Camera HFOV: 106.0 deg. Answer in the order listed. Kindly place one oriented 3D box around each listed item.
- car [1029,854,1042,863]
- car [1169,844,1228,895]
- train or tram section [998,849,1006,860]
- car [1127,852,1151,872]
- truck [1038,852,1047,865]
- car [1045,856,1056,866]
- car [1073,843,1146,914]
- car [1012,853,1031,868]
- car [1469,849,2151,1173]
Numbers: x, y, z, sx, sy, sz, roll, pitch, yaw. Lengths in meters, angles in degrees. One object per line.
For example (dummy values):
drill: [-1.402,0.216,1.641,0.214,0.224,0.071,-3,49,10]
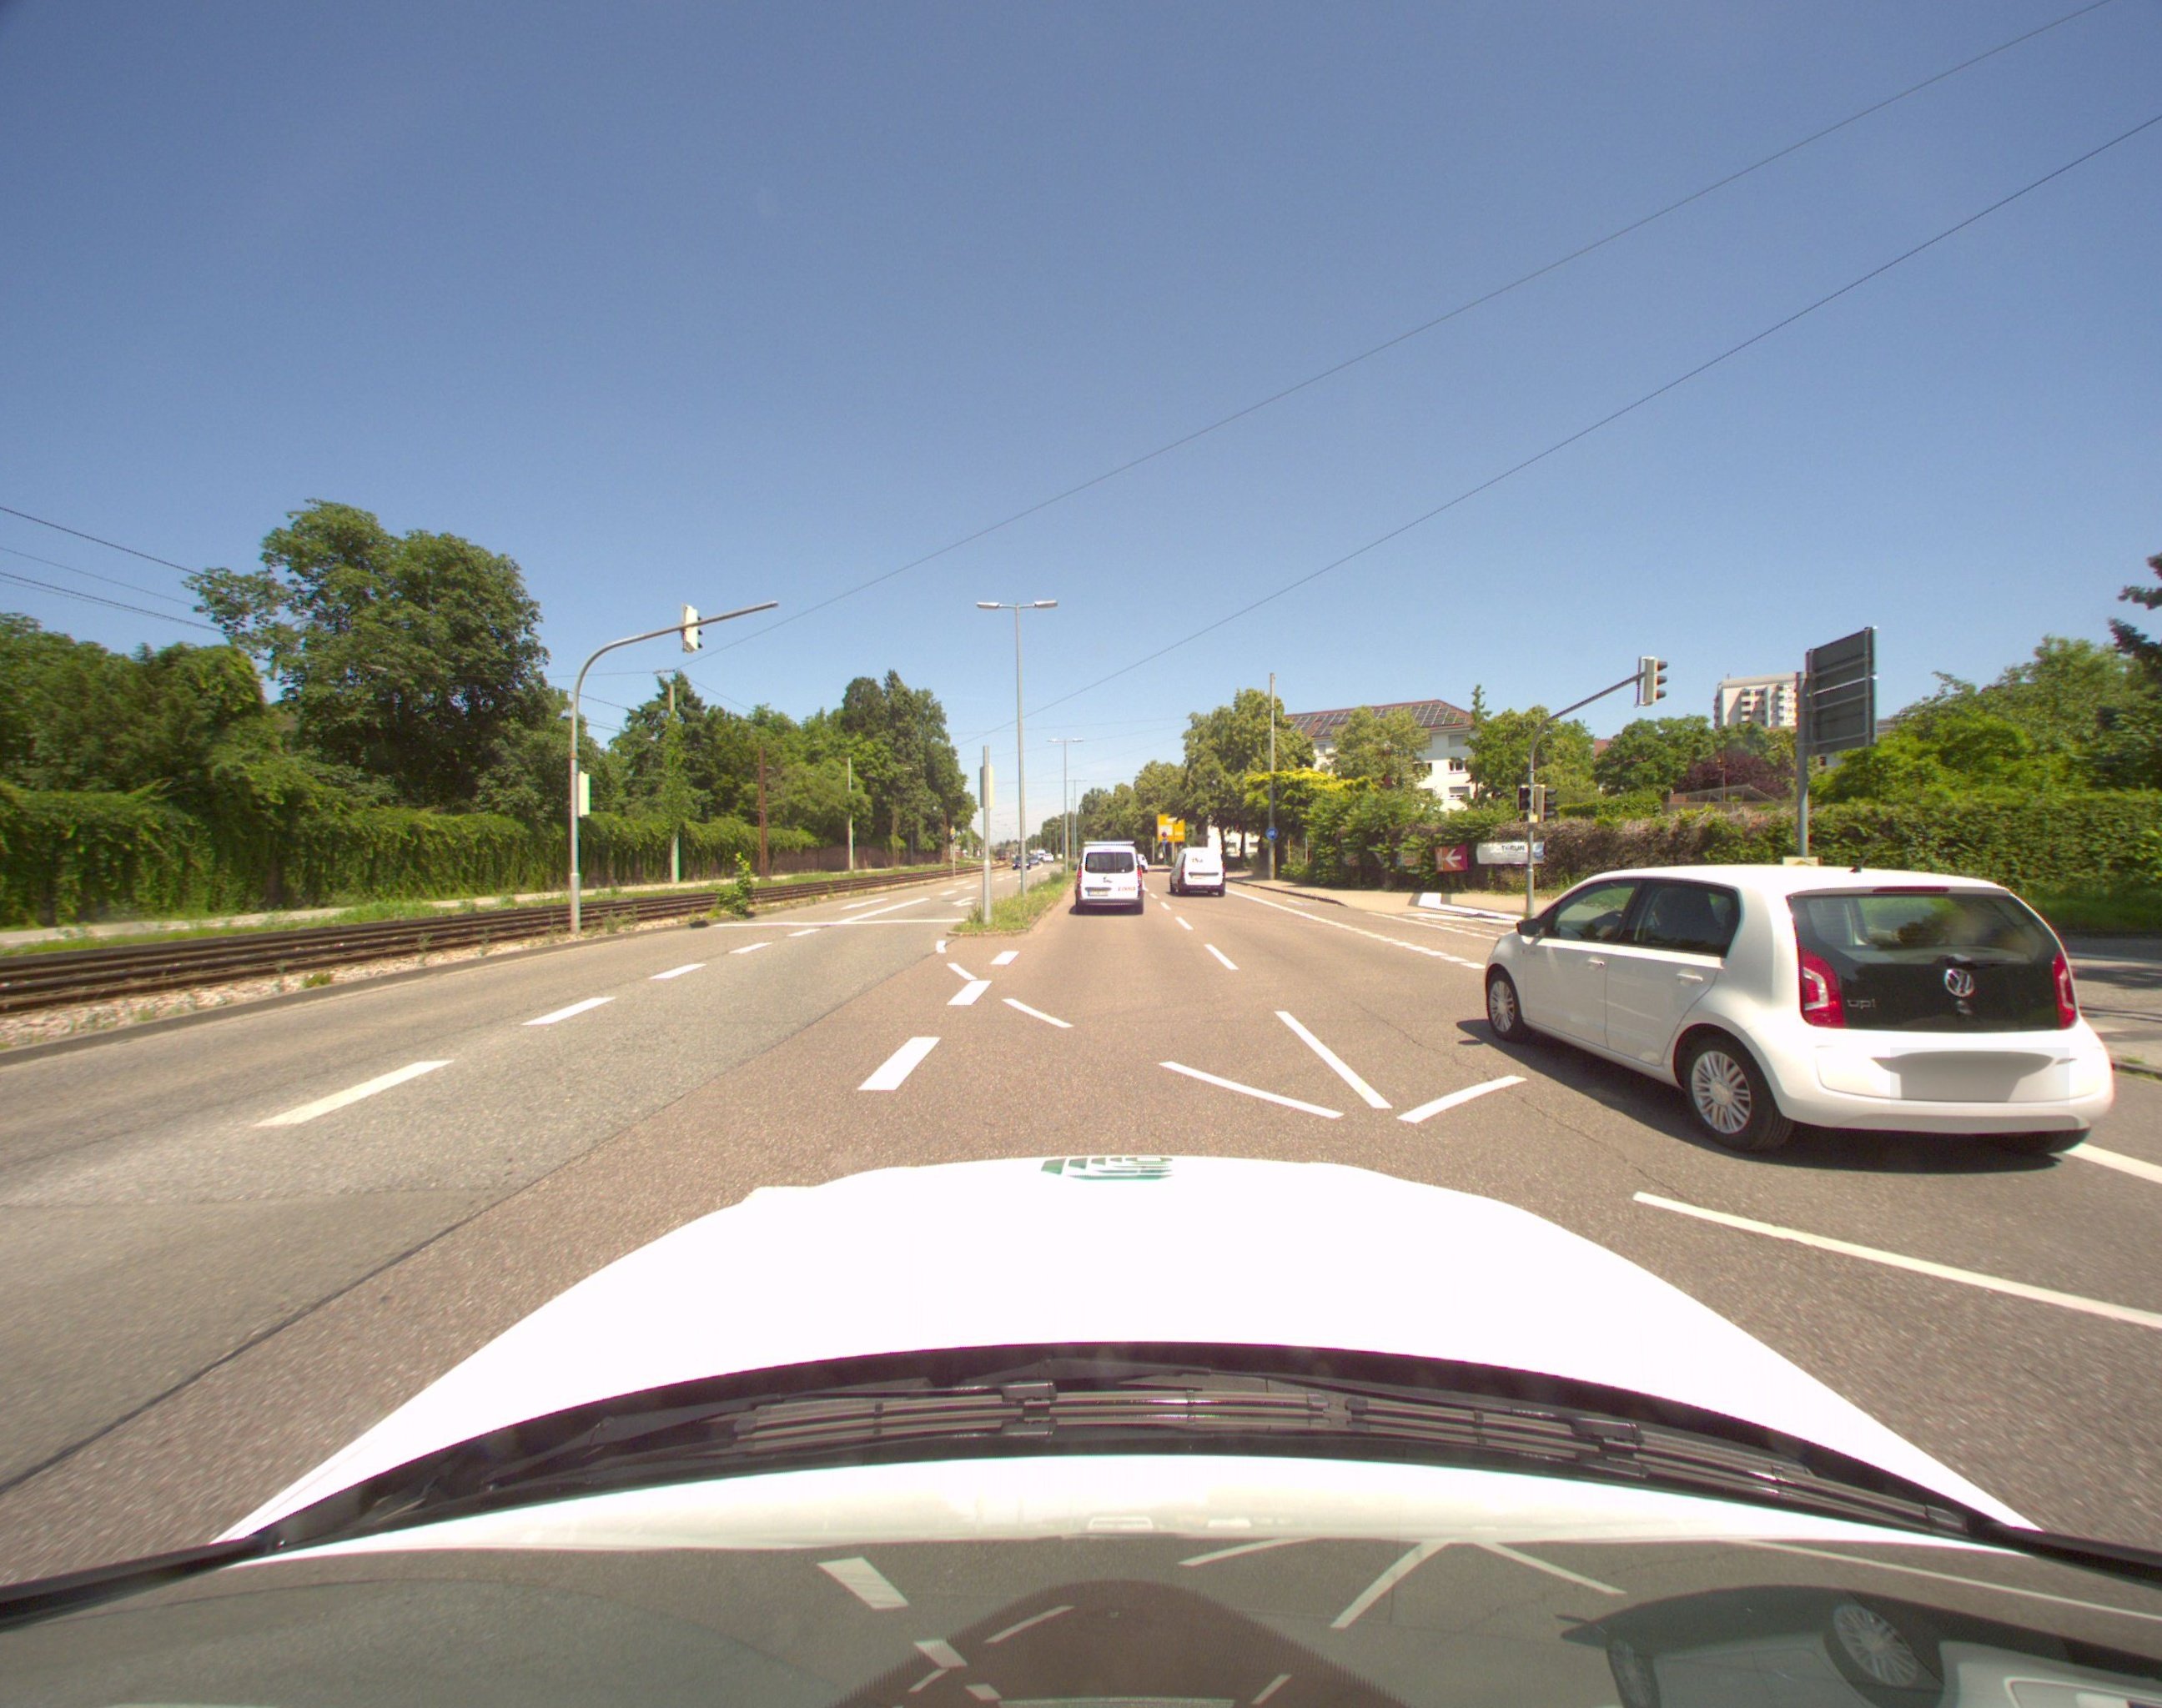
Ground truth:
car: [-6.915,0.678,123.422,1.692,1.439,3.999,-1,0,0]
car: [4.413,0.557,30.993,1.721,1.788,4.065,1,0,1]
train or tram section: [-24.739,0.197,254.999,1.992,3.086,16.126,1,0,-7]
car: [4.838,0.658,67.882,1.828,1.568,4.002,1,0,2]
truck: [-9.817,1.066,208.511,1.986,3.213,5.313,-1,0,1]
car: [-6.023,1.380,161.762,1.986,1.816,4.001,-1,0,1]
car: [0.792,0.611,22.407,1.814,1.739,4.398,1,0,2]
car: [-6.272,0.693,86.585,1.691,1.512,4.066,-1,0,0]
car: [4.163,0.710,5.465,1.603,1.447,3.438,1,0,3]
